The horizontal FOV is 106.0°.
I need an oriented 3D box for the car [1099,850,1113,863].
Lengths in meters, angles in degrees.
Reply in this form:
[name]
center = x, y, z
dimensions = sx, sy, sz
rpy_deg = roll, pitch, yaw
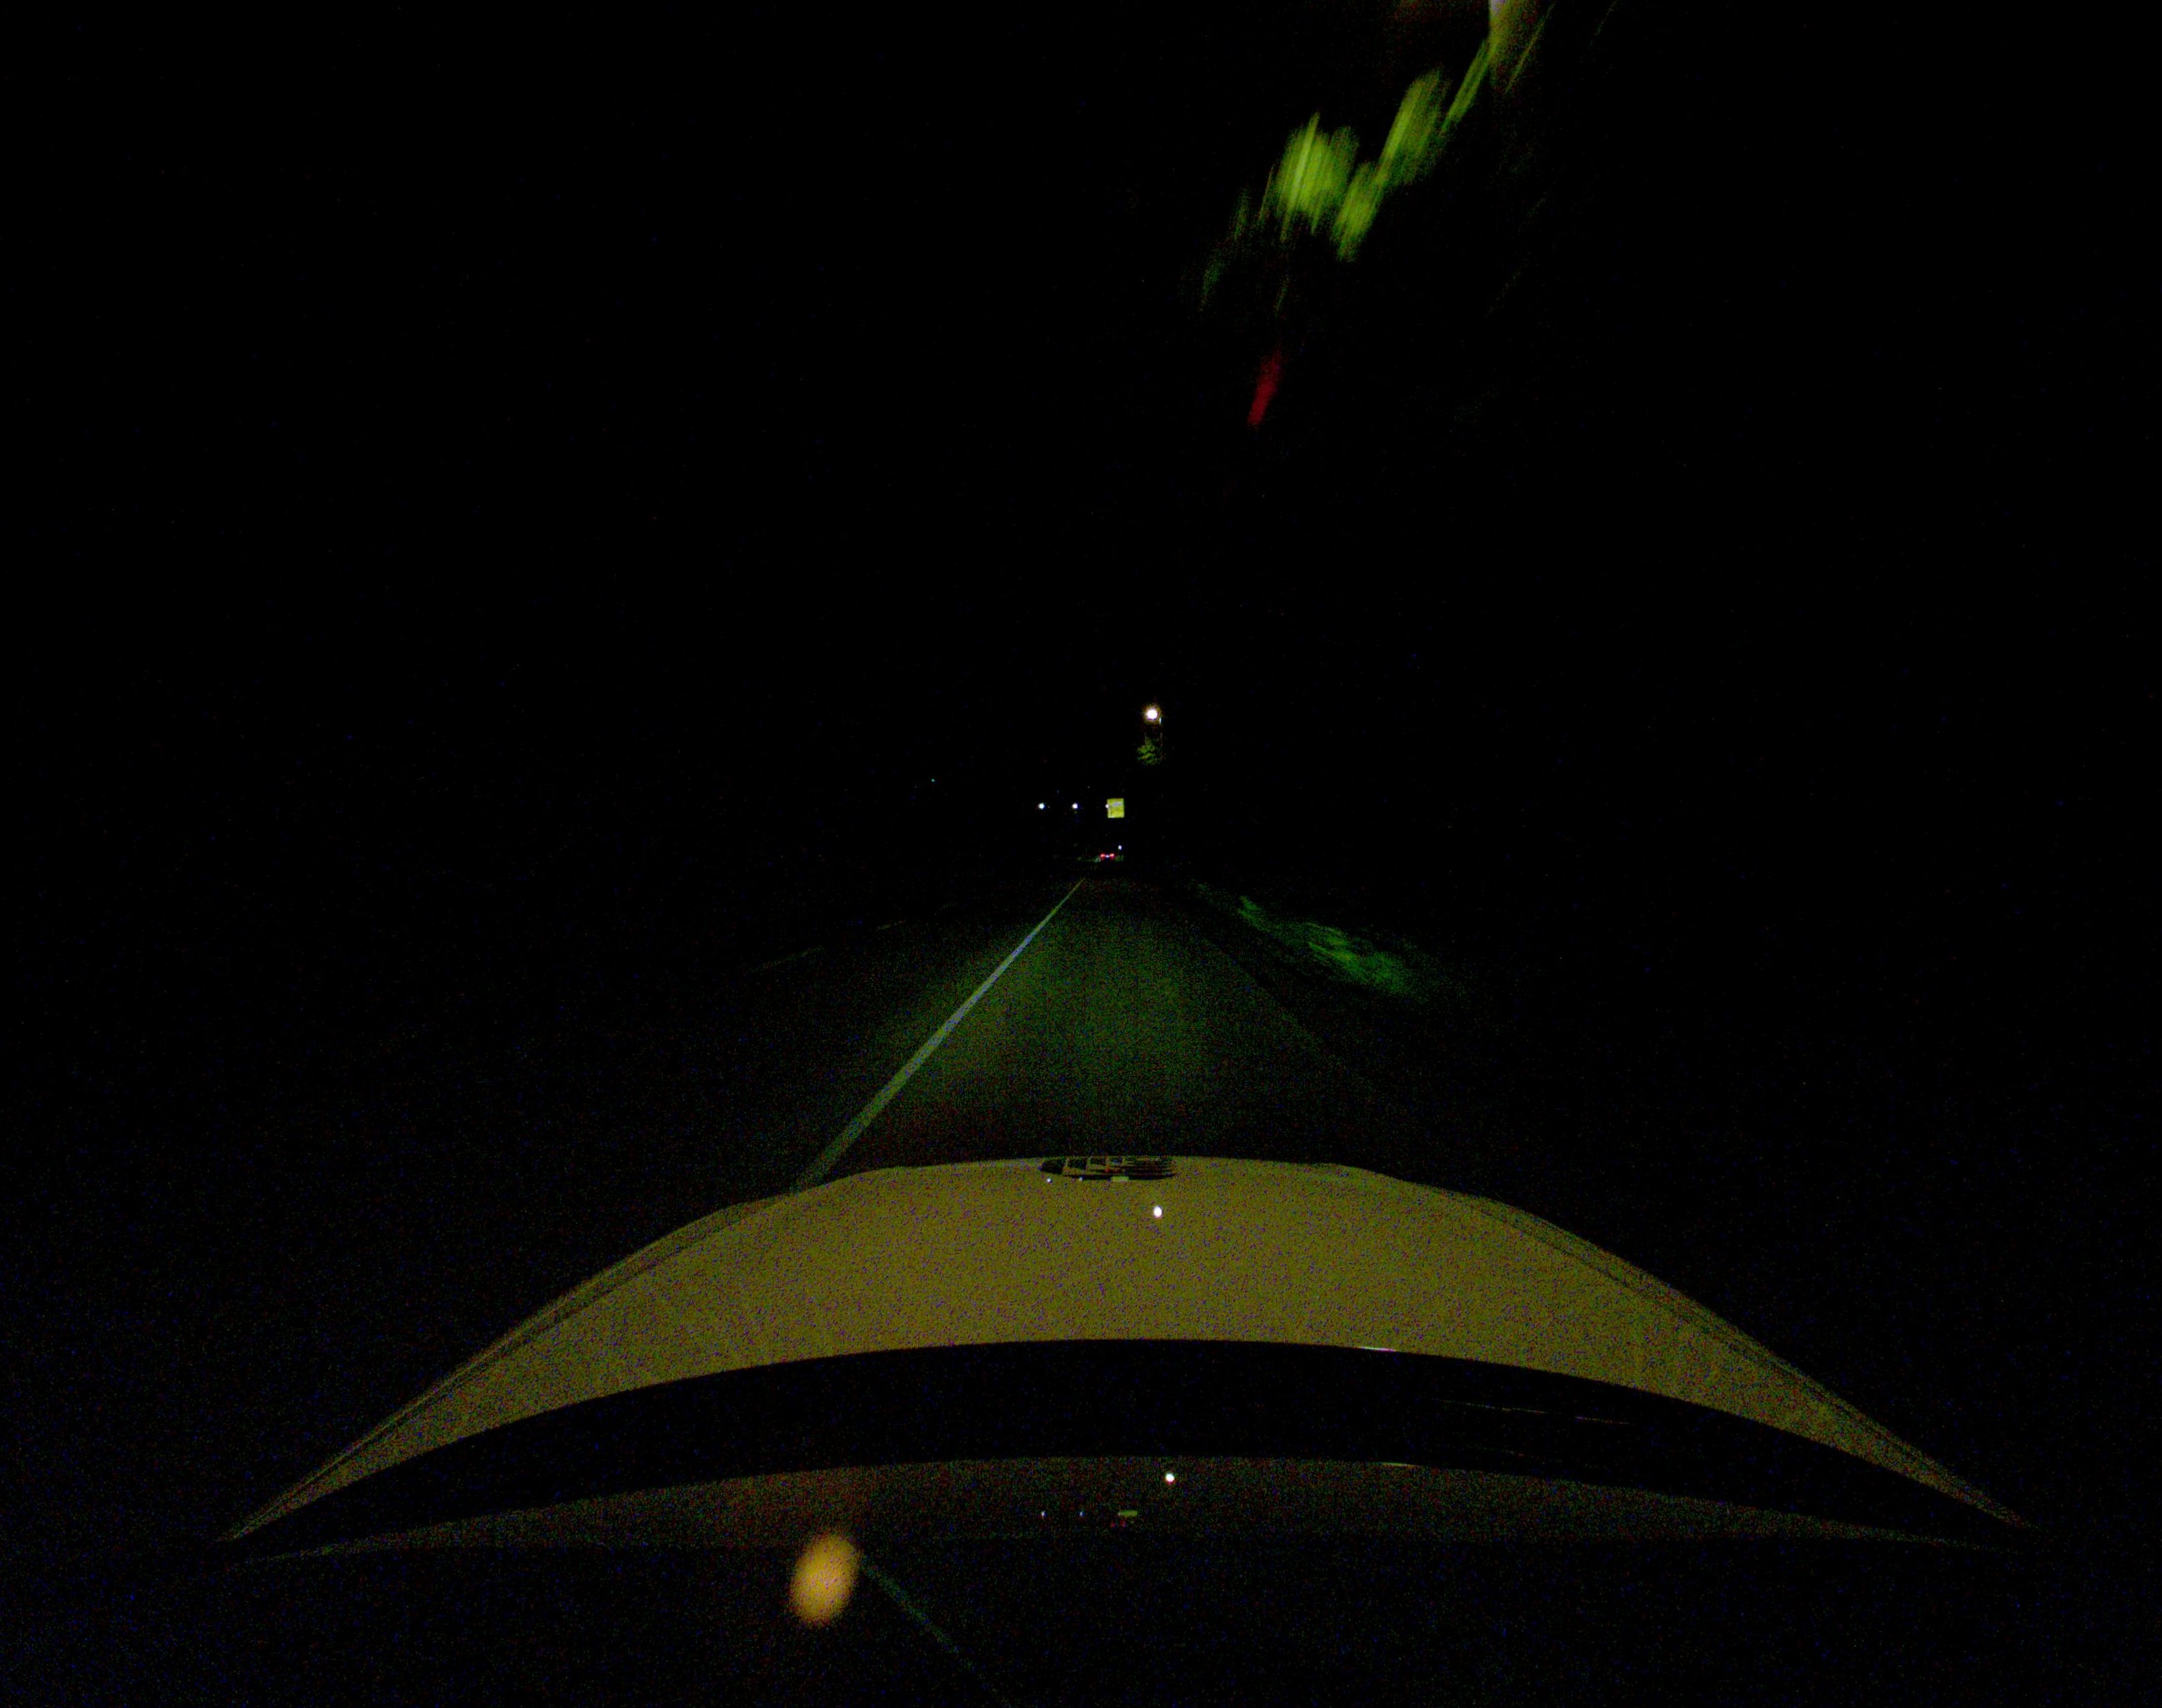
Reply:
[car]
center = 3.423, 0.299, 111.588
dimensions = 1.758, 1.641, 3.722
rpy_deg = -1, 1, -1
